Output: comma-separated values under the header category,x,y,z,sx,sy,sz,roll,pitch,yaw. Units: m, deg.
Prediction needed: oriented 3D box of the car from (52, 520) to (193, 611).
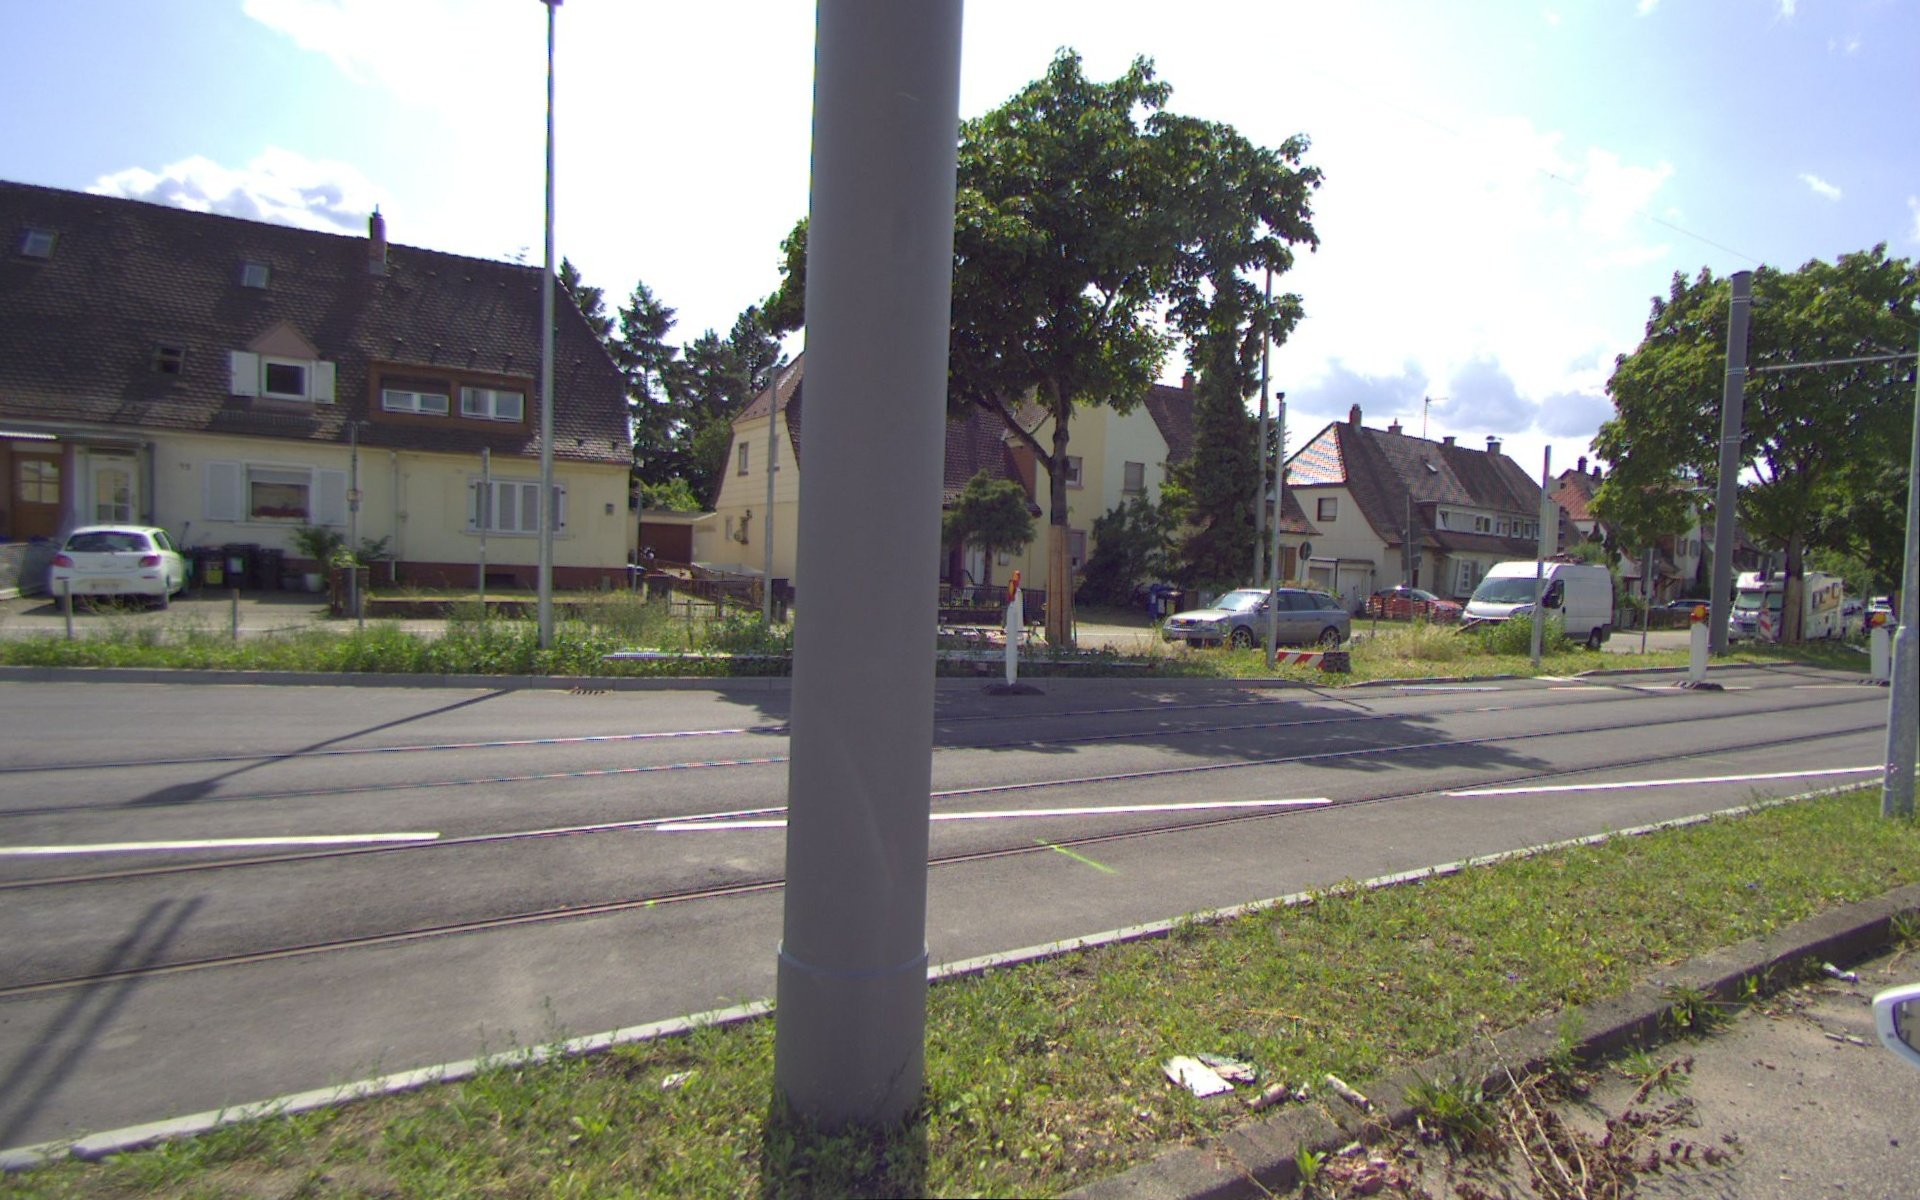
category,x,y,z,sx,sy,sz,roll,pitch,yaw
car,-16.175,-0.684,19.567,1.743,1.565,3.923,1,2,-35

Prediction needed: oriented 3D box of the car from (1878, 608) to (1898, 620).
category,x,y,z,sx,sy,sz,roll,pitch,yaw
car,130.403,1.976,141.141,1.707,1.525,4.548,1,1,38

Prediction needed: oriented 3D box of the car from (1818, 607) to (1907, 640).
category,x,y,z,sx,sy,sz,roll,pitch,yaw
car,42.121,1.093,46.862,4.756,1.406,1.841,1,2,-33

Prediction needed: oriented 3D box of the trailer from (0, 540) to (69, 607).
category,x,y,z,sx,sy,sz,roll,pitch,yaw
trailer,-18.419,-0.561,18.608,1.938,1.139,4.895,1,2,-31

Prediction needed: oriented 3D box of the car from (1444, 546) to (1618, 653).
category,x,y,z,sx,sy,sz,roll,pitch,yaw
car,15.795,-0.012,27.712,4.865,2.704,2.139,1,2,-34

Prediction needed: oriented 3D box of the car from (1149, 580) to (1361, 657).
category,x,y,z,sx,sy,sz,roll,pitch,yaw
car,6.460,0.396,21.796,4.702,1.484,1.683,1,2,-32

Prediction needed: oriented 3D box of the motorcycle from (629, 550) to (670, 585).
category,x,y,z,sx,sy,sz,roll,pitch,yaw
motorcycle,-11.954,-1.262,38.584,0.903,1.305,2.798,1,2,-30

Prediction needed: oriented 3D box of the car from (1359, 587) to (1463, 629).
category,x,y,z,sx,sy,sz,roll,pitch,yaw
car,18.837,0.317,42.082,1.654,1.542,3.593,1,2,-35

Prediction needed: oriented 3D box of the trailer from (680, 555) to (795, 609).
category,x,y,z,sx,sy,sz,roll,pitch,yaw
trailer,-6.764,-0.586,30.071,1.999,1.412,5.233,1,2,-28

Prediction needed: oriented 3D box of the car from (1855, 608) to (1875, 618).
category,x,y,z,sx,sy,sz,roll,pitch,yaw
car,146.850,2.057,163.024,1.854,1.573,4.362,3,2,36

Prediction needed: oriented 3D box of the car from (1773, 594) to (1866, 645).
category,x,y,z,sx,sy,sz,roll,pitch,yaw
car,37.292,0.835,43.558,4.858,2.041,1.979,1,2,-37

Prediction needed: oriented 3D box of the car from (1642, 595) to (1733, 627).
category,x,y,z,sx,sy,sz,roll,pitch,yaw
car,42.519,0.613,58.770,1.859,1.551,3.951,1,3,-41

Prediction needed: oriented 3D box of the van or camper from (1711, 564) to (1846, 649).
category,x,y,z,sx,sy,sz,roll,pitch,yaw
van or camper,31.902,0.265,39.049,7.229,3.010,2.358,1,2,-37
